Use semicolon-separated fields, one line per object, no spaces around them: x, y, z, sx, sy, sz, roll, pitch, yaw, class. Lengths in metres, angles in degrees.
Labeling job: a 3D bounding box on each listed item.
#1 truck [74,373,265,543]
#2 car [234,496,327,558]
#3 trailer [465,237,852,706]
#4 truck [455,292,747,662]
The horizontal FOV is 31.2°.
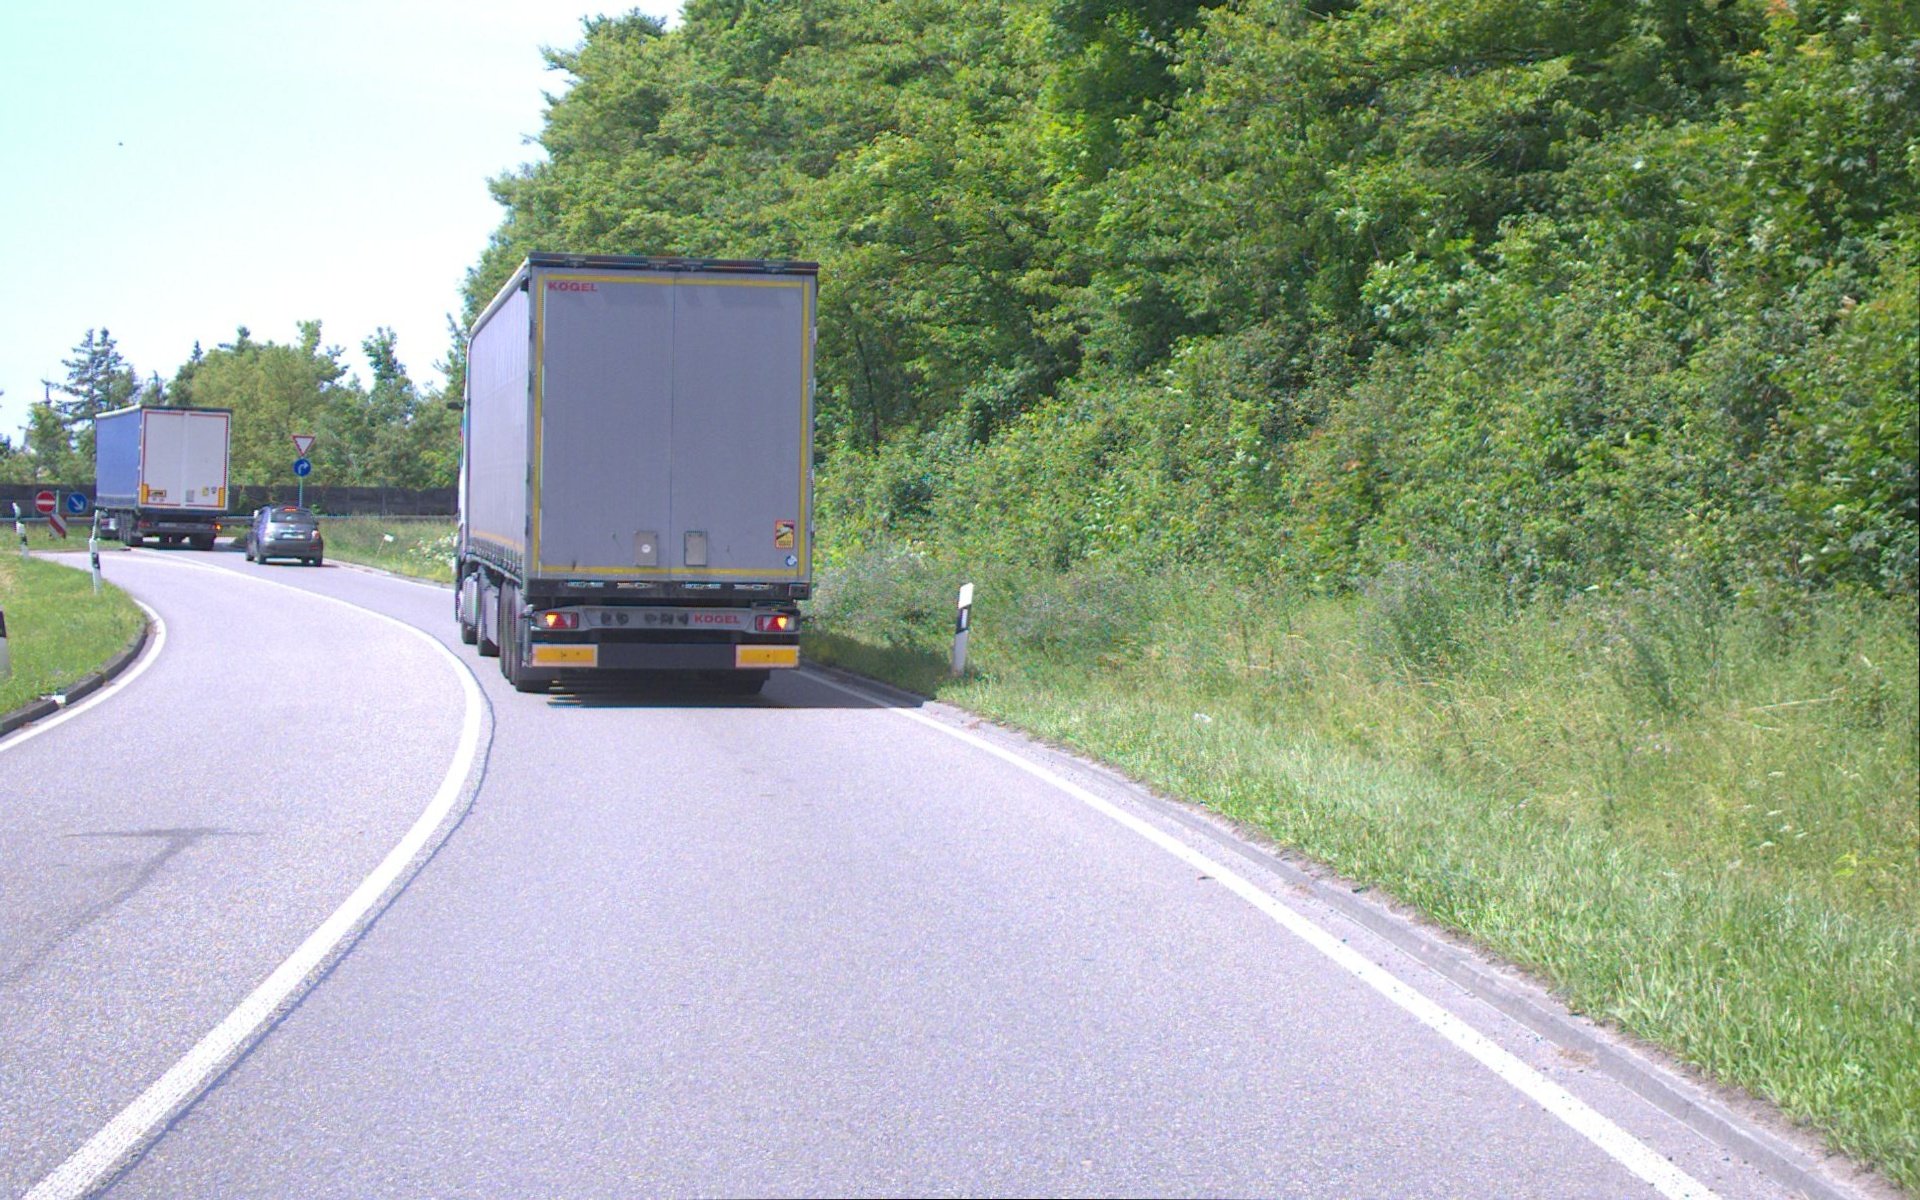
-24.158;-4.214;104.232;3.827;4.728;16.209;0;2;-19;truck
-17.374;-1.872;87.827;1.665;1.481;4.001;0;2;-21;car
-3.565;-1.228;36.526;3.026;4.021;13.356;1;1;-9;trailer
-4.673;-1.471;43.365;3.152;4.210;7.124;1;1;-10;truck
